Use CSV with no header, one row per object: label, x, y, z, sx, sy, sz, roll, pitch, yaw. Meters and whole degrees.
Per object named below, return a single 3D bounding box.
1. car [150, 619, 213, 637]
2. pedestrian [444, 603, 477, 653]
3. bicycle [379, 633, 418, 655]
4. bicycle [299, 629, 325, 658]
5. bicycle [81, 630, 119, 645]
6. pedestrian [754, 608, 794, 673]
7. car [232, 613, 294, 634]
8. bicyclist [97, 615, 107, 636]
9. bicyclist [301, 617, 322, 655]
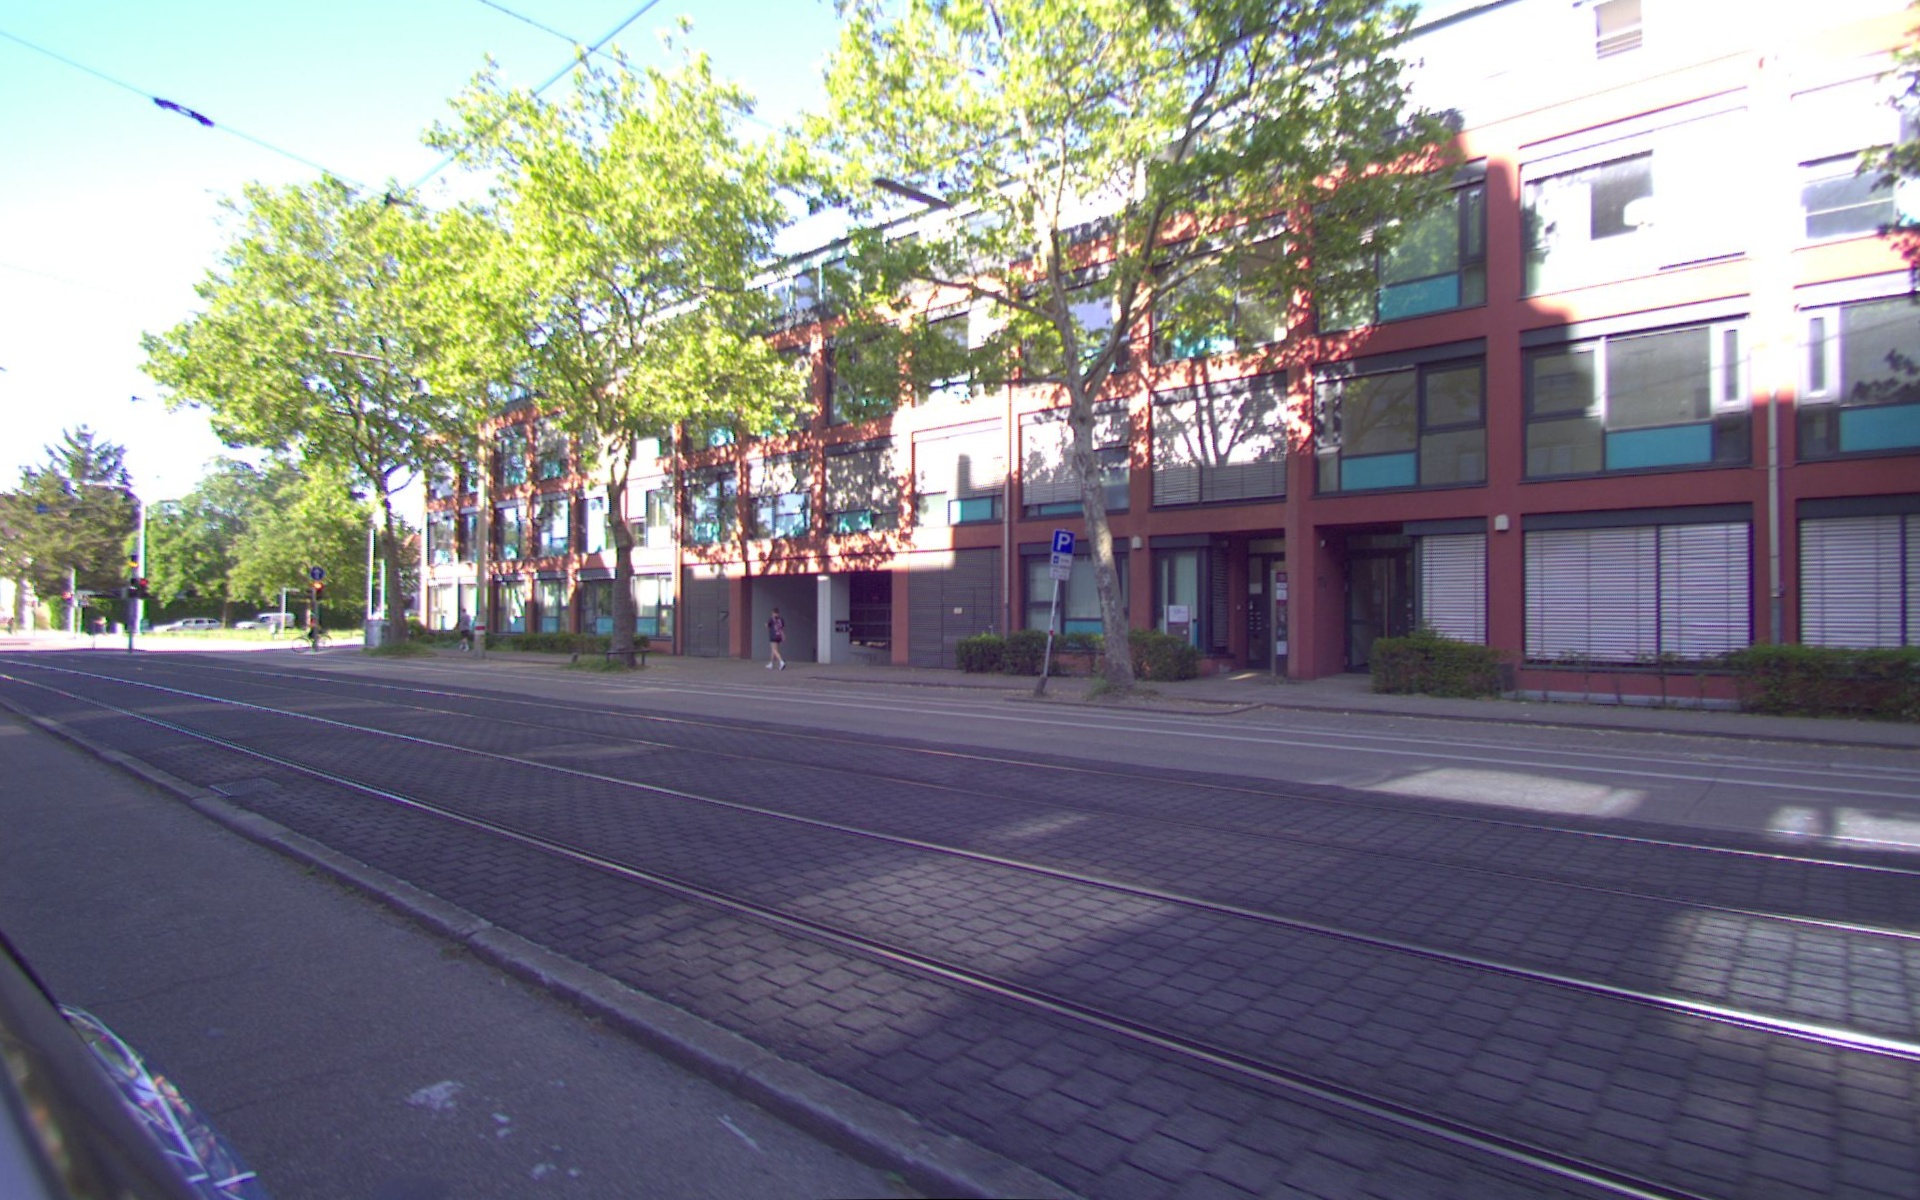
car,-63.972,2.258,83.211,3.939,1.444,1.818,1,-2,-43
pedestrian,-20.565,1.139,41.696,0.778,2.029,0.903,-2,0,33
bicycle,-23.030,1.800,41.514,1.531,0.913,0.519,0,-1,18
bicycle,-29.299,1.946,45.758,0.623,1.137,2.042,-4,3,-24
bicycle,-67.882,2.972,79.881,2.251,1.126,0.931,1,-2,-41
pedestrian,-5.152,1.111,28.046,0.900,1.731,0.619,-1,0,40
car,-61.606,2.080,89.505,1.817,1.881,4.253,-1,-2,43
bicyclist,-67.802,1.998,79.979,0.551,1.635,0.899,1,-2,-41
bicyclist,-29.316,1.622,45.761,0.596,1.705,0.935,-2,0,-24
